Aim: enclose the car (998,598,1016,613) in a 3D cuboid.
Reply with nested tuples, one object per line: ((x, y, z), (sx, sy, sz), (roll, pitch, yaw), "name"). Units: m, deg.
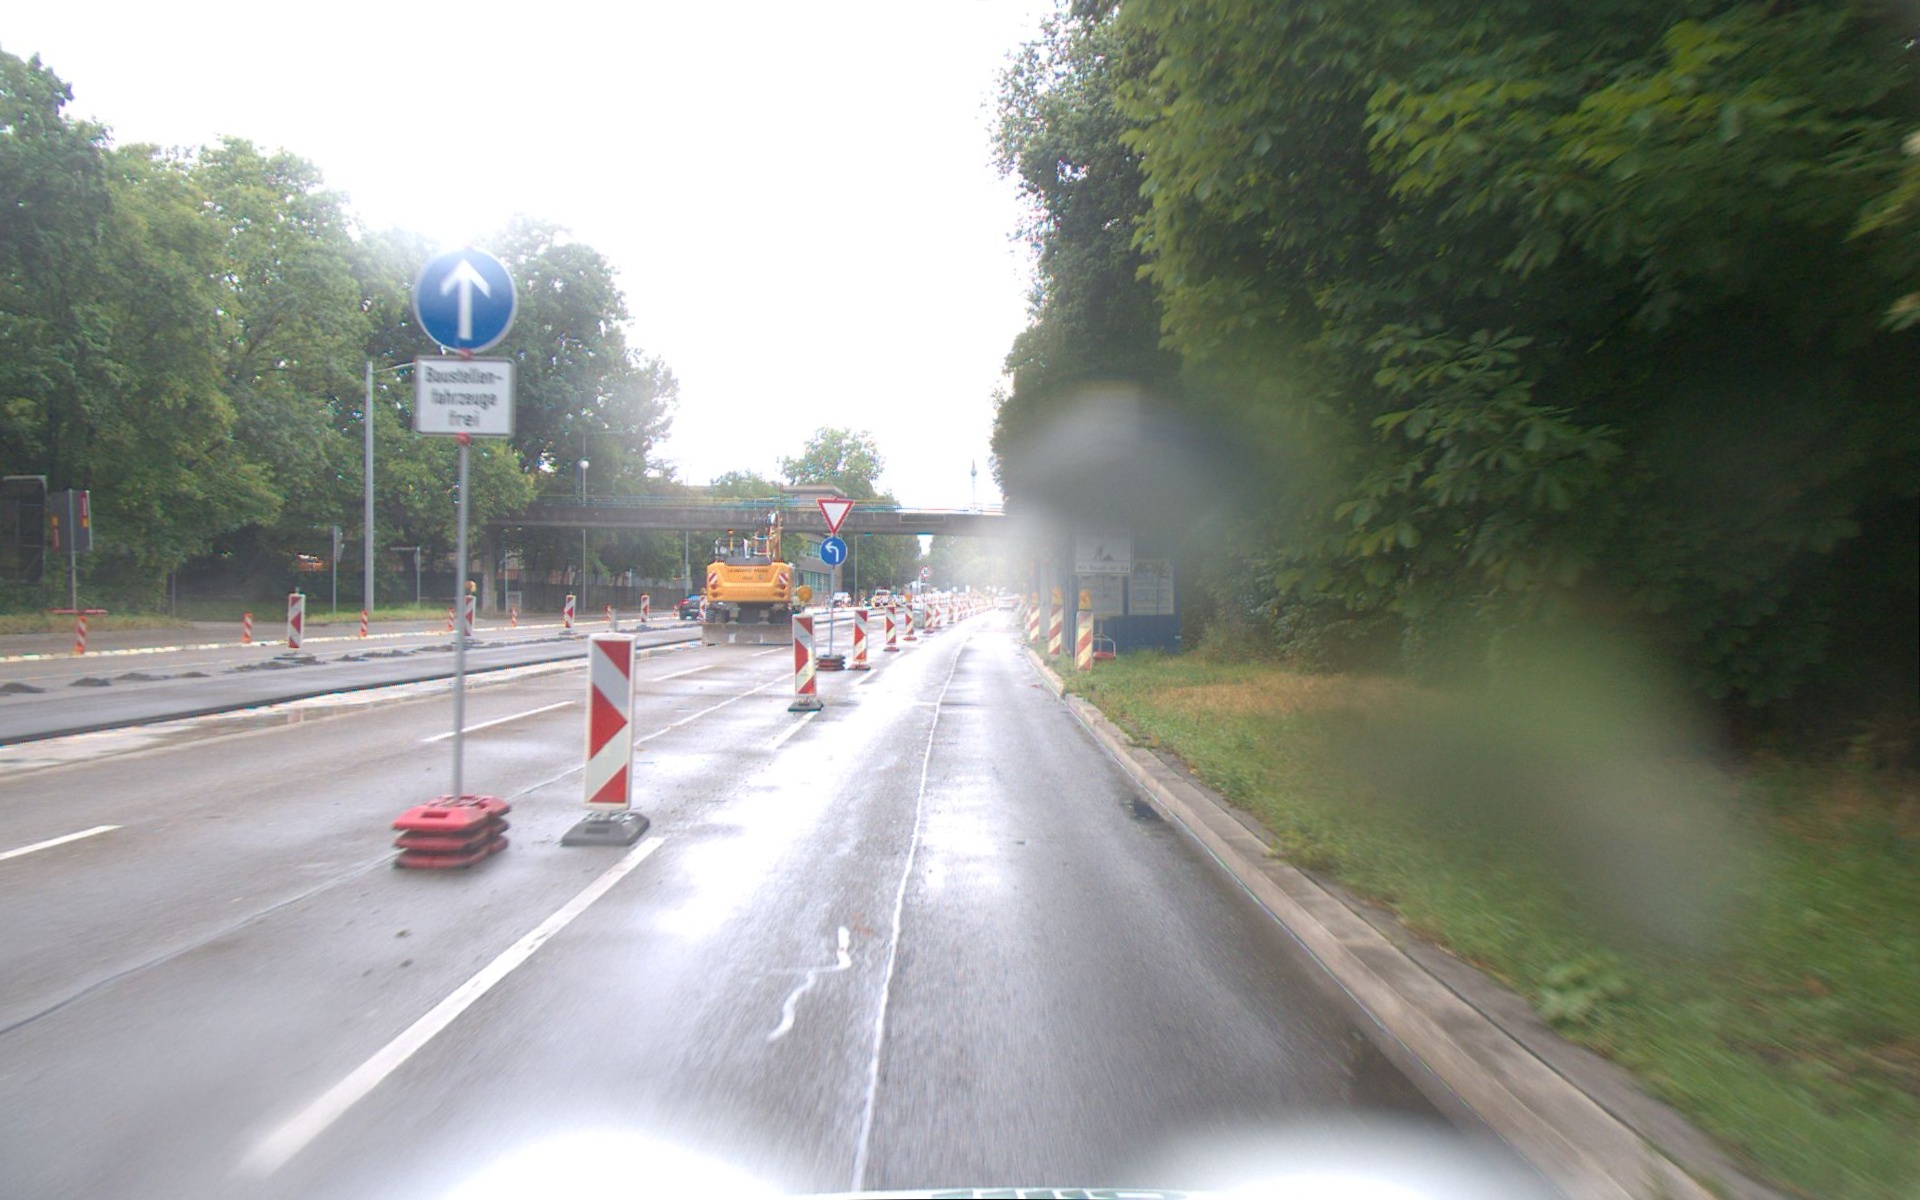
((5.250, 0.614, 183.792), (1.952, 1.669, 4.001), (0, -1, 2), "car")

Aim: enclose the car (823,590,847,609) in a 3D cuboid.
((-12.672, -0.014, 167.793), (1.930, 1.837, 4.609), (0, -1, 3), "car")

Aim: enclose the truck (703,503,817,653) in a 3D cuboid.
((-6.347, -0.629, 53.992), (2.840, 4.334, 10.749), (1, 0, -3), "truck")
